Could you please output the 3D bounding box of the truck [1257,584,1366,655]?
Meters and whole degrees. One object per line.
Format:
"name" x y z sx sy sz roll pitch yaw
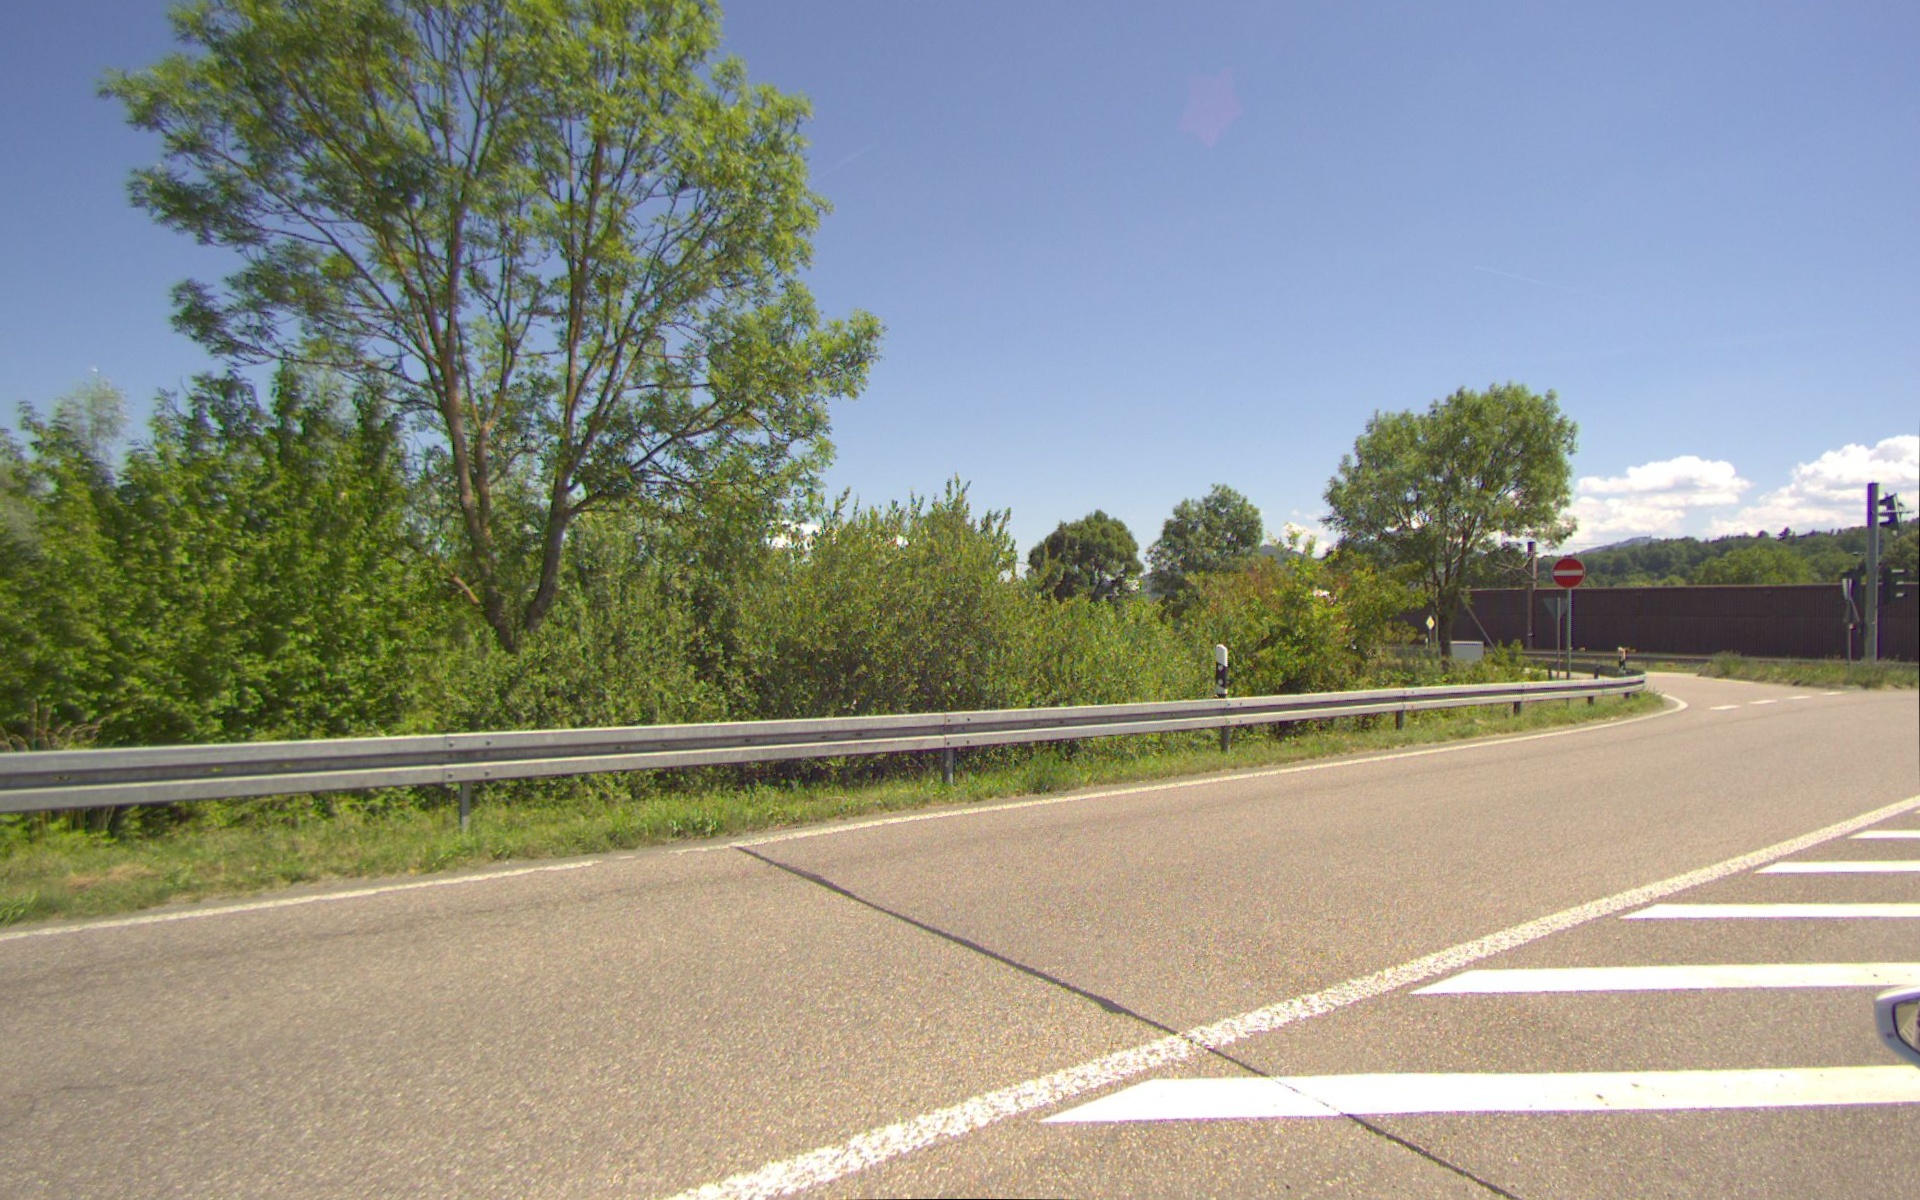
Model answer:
"truck" 19.367 1.055 55.614 2.496 3.694 5.228 2 -1 -34

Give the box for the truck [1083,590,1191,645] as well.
"truck" 11.894 1.144 68.478 2.100 3.516 9.029 2 -1 -28

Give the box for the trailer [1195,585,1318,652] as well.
"trailer" 17.259 1.033 58.848 2.496 3.694 6.851 2 -1 -34
